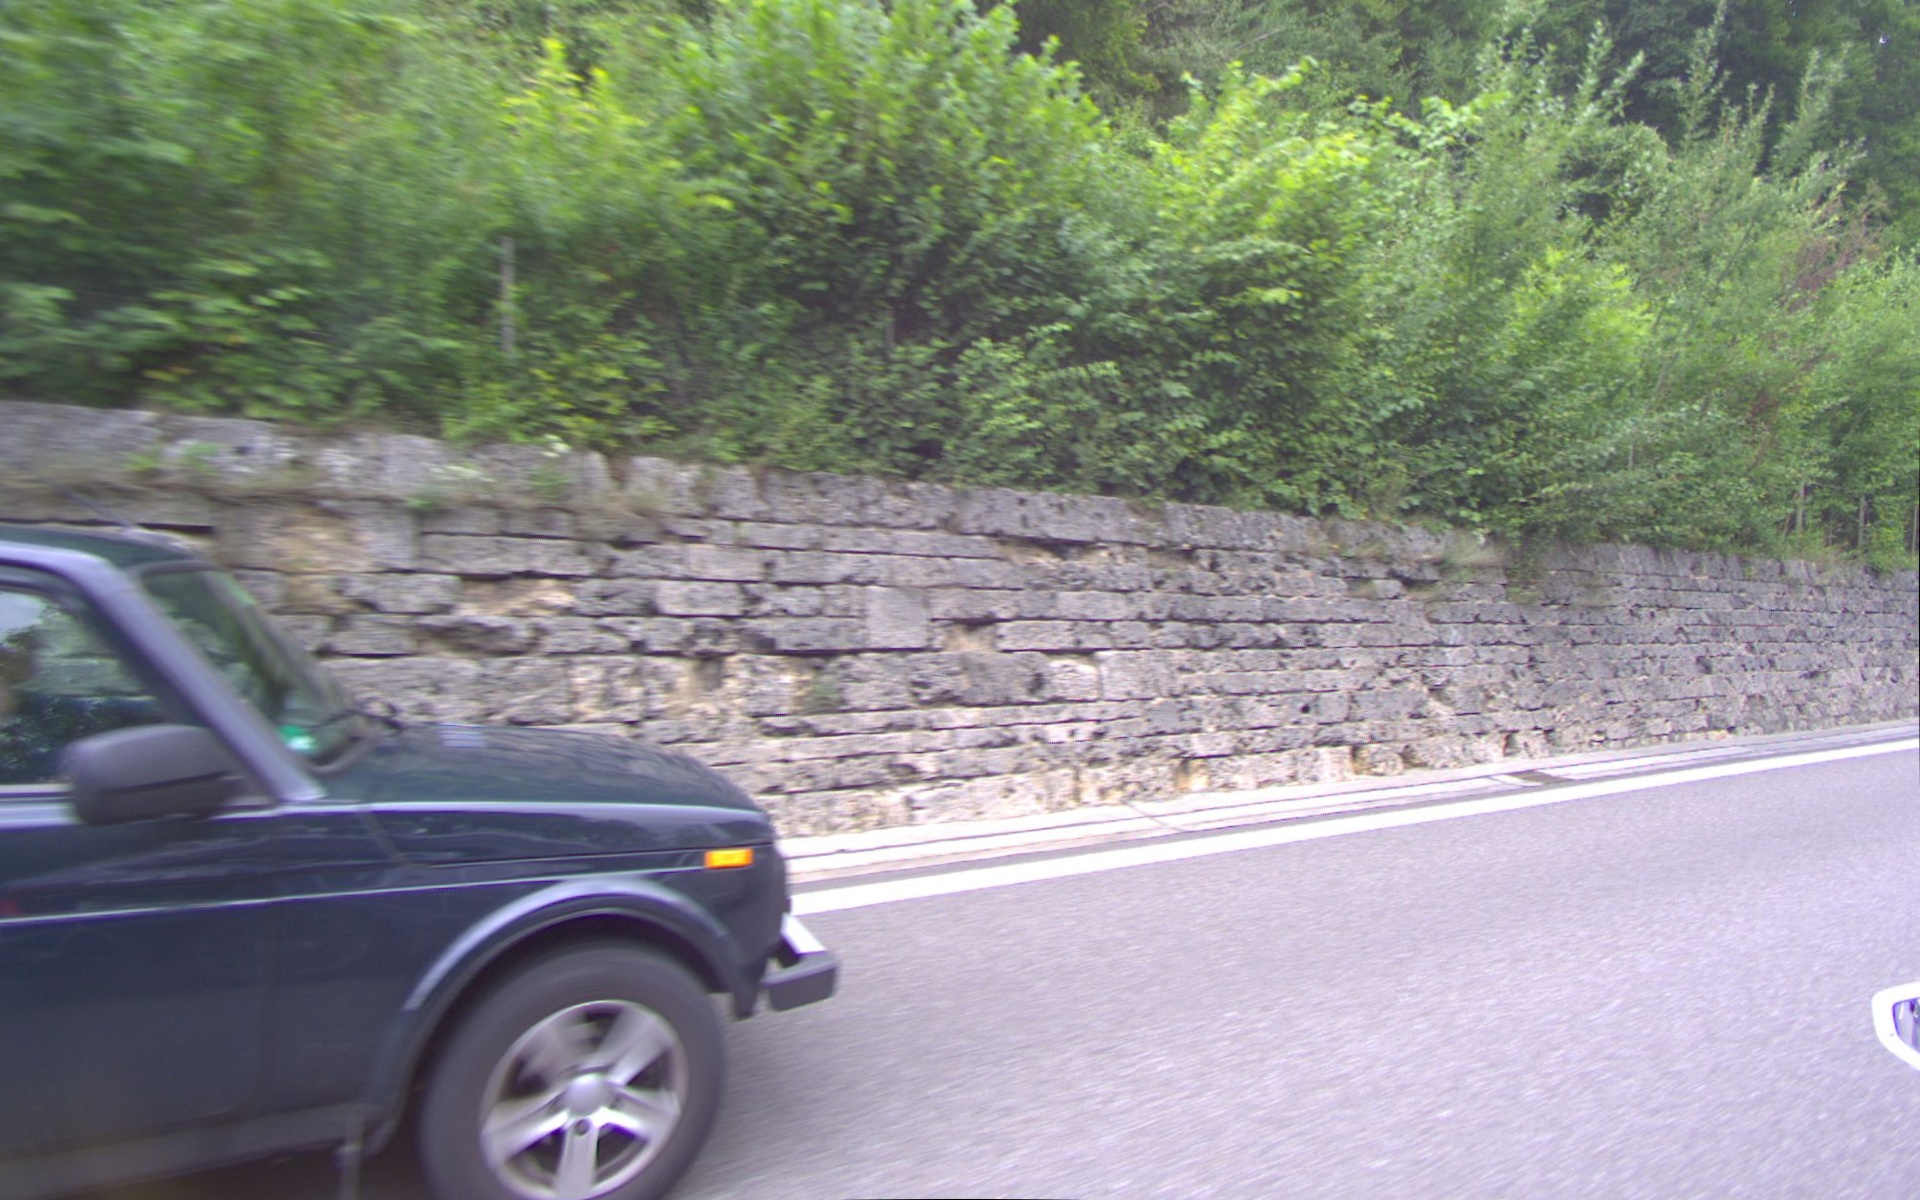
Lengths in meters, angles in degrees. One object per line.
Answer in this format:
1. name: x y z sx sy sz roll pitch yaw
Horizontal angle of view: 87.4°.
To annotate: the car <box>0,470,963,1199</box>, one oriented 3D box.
1. car: -2.149 0.600 2.421 4.019 1.660 1.661 1 0 -30
